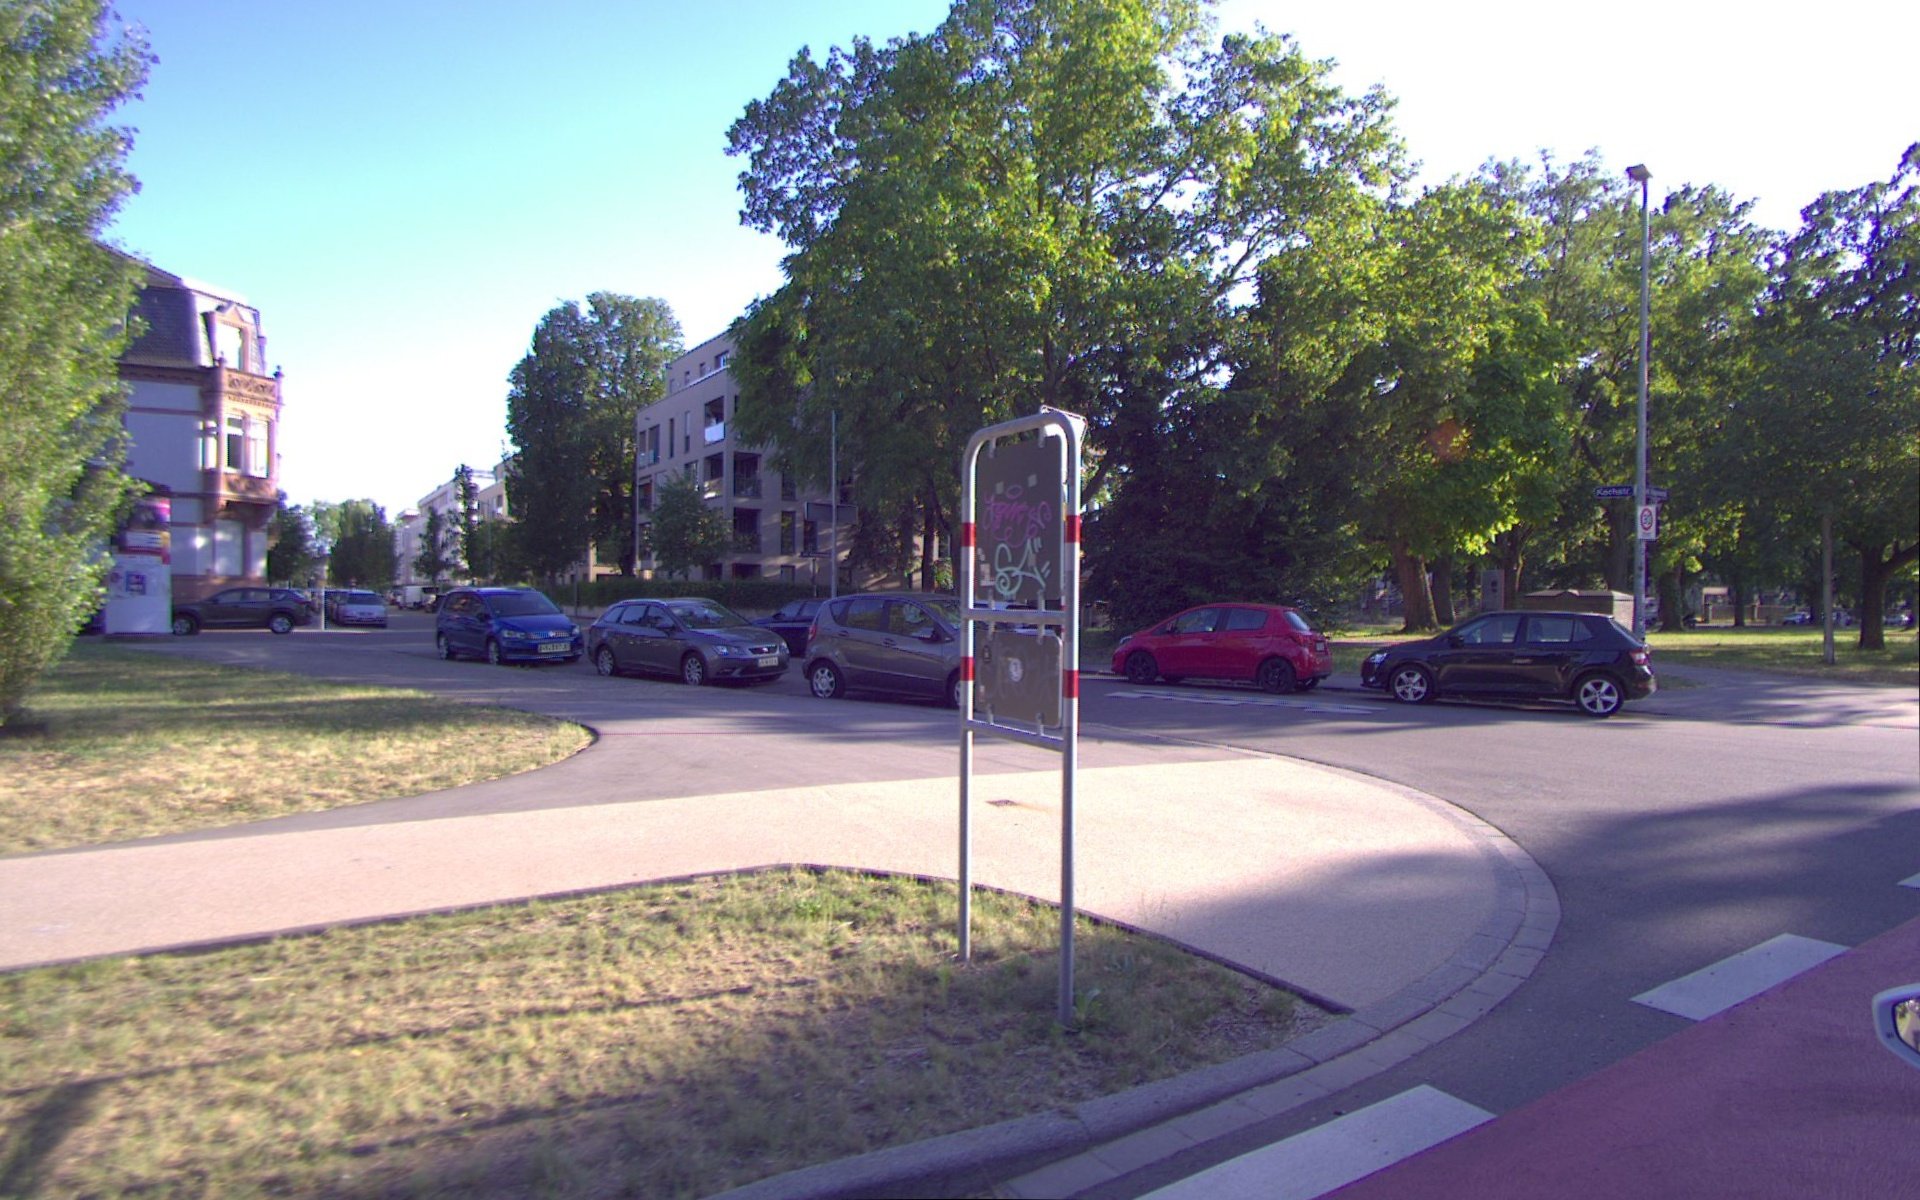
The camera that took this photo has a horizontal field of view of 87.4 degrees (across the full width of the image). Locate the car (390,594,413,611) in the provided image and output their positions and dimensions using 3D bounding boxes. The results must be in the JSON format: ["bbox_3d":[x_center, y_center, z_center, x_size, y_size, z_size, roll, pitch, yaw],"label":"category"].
[{"bbox_3d":[-57.104,0.238,102.681,1.870,1.595,3.965,2,-1,-32],"label":"car"}]

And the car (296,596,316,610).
[{"bbox_3d":[-79.218,0.356,121.716,1.870,1.595,3.965,2,-1,-32],"label":"car"}]

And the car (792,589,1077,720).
[{"bbox_3d":[-0.412,0.701,14.548,3.782,1.653,1.834,0,-1,35],"label":"car"}]

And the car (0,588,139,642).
[{"bbox_3d":[-29.054,0.480,32.113,3.946,1.595,1.879,2,-1,-25],"label":"car"}]

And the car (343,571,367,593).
[{"bbox_3d":[-59.723,-1.728,99.123,1.978,2.040,3.965,1,-1,-32],"label":"car"}]

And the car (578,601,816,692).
[{"bbox_3d":[-4.701,0.740,17.740,4.207,1.419,1.833,0,-1,36],"label":"car"}]

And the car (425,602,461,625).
[{"bbox_3d":[-39.155,1.016,76.064,1.872,1.595,3.960,3,-1,-35],"label":"car"}]

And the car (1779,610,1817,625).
[{"bbox_3d":[87.836,1.844,105.258,3.955,1.528,1.983,1,-1,-32],"label":"car"}]

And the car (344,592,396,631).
[{"bbox_3d":[-26.502,0.498,45.065,1.870,1.595,3.965,2,-1,-32],"label":"car"}]

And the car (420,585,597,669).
[{"bbox_3d":[-9.927,0.542,21.965,4.211,1.665,1.832,0,-1,39],"label":"car"}]

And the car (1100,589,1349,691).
[{"bbox_3d":[4.727,0.670,18.084,3.932,1.595,1.886,1,-1,34],"label":"car"}]

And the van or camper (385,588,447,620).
[{"bbox_3d":[-45.927,0.316,84.773,5.975,2.584,2.073,1,-1,35],"label":"van or camper"}]

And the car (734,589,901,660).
[{"bbox_3d":[-3.563,0.583,24.852,3.938,1.595,1.883,1,-1,38],"label":"car"}]

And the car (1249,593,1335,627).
[{"bbox_3d":[22.227,0.668,67.395,2.651,2.142,4.920,0,1,-35],"label":"car"}]

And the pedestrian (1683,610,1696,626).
[{"bbox_3d":[44.049,1.089,60.644,0.605,1.000,0.543,1,0,-40],"label":"pedestrian"}]

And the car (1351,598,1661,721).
[{"bbox_3d":[8.253,0.825,15.346,3.932,1.595,1.886,1,-1,34],"label":"car"}]

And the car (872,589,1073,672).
[{"bbox_3d":[0.213,0.613,21.442,3.937,1.595,1.884,1,-1,38],"label":"car"}]

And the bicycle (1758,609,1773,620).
[{"bbox_3d":[85.213,1.521,106.240,2.310,1.191,0.652,1,-1,-35],"label":"bicycle"}]

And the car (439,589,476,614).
[{"bbox_3d":[-34.452,0.124,68.865,1.870,1.595,3.965,2,-1,-32],"label":"car"}]

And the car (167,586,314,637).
[{"bbox_3d":[-24.781,0.420,34.791,3.955,1.595,1.875,3,-1,-32],"label":"car"}]

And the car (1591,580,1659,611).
[{"bbox_3d":[56.839,-0.344,85.833,6.252,2.496,2.704,1,-1,-34],"label":"car"}]

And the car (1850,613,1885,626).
[{"bbox_3d":[105.795,2.297,117.112,4.069,1.528,1.983,1,-1,-32],"label":"car"}]

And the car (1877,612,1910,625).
[{"bbox_3d":[113.527,2.205,122.189,4.069,1.528,1.983,1,-1,-32],"label":"car"}]
